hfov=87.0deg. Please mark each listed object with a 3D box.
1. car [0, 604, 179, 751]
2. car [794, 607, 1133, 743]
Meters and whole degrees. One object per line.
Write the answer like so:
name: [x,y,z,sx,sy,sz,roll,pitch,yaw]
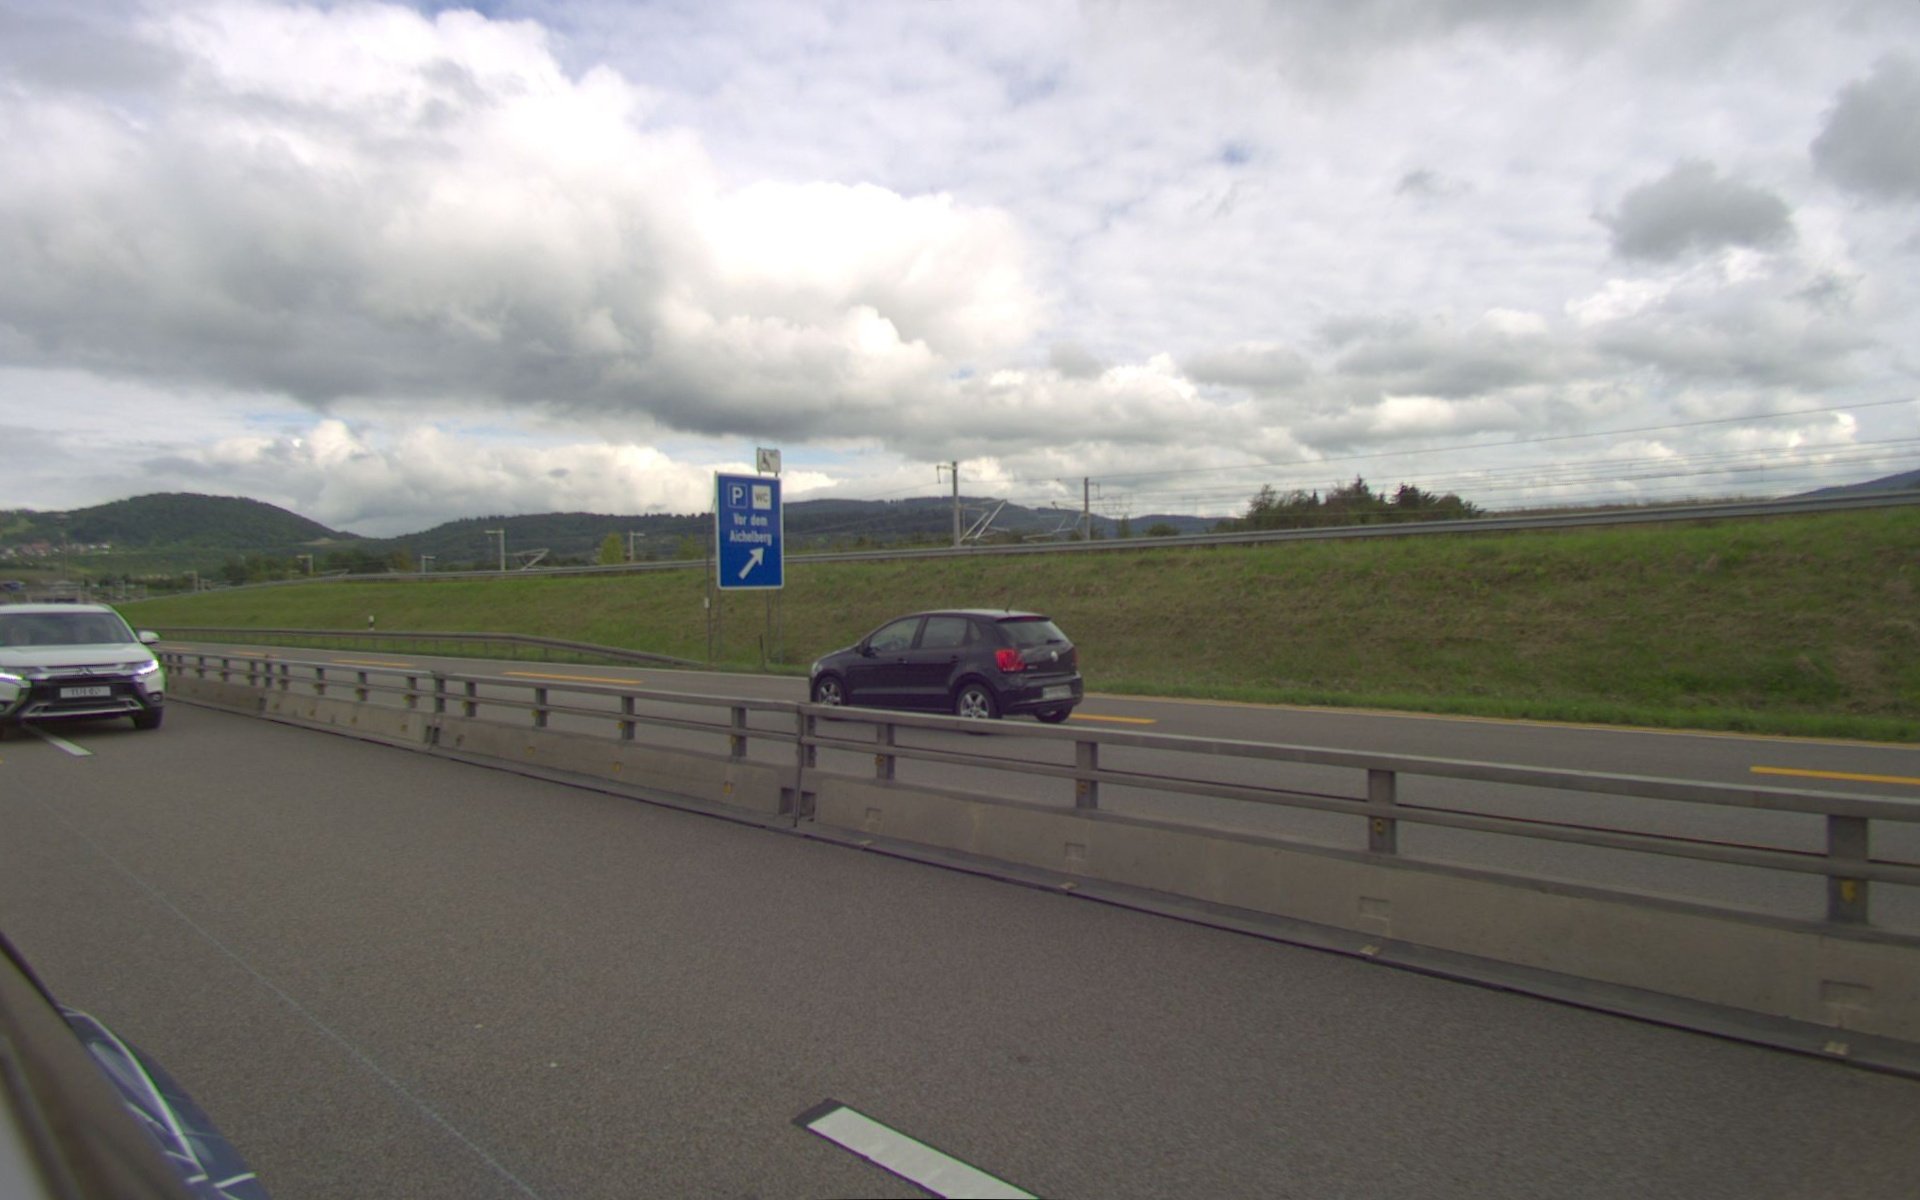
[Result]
car: [-12.066,0.910,13.396,4.606,1.640,1.972,-1,-1,42]
car: [-0.054,0.823,12.535,3.996,1.398,1.740,-1,-1,39]
